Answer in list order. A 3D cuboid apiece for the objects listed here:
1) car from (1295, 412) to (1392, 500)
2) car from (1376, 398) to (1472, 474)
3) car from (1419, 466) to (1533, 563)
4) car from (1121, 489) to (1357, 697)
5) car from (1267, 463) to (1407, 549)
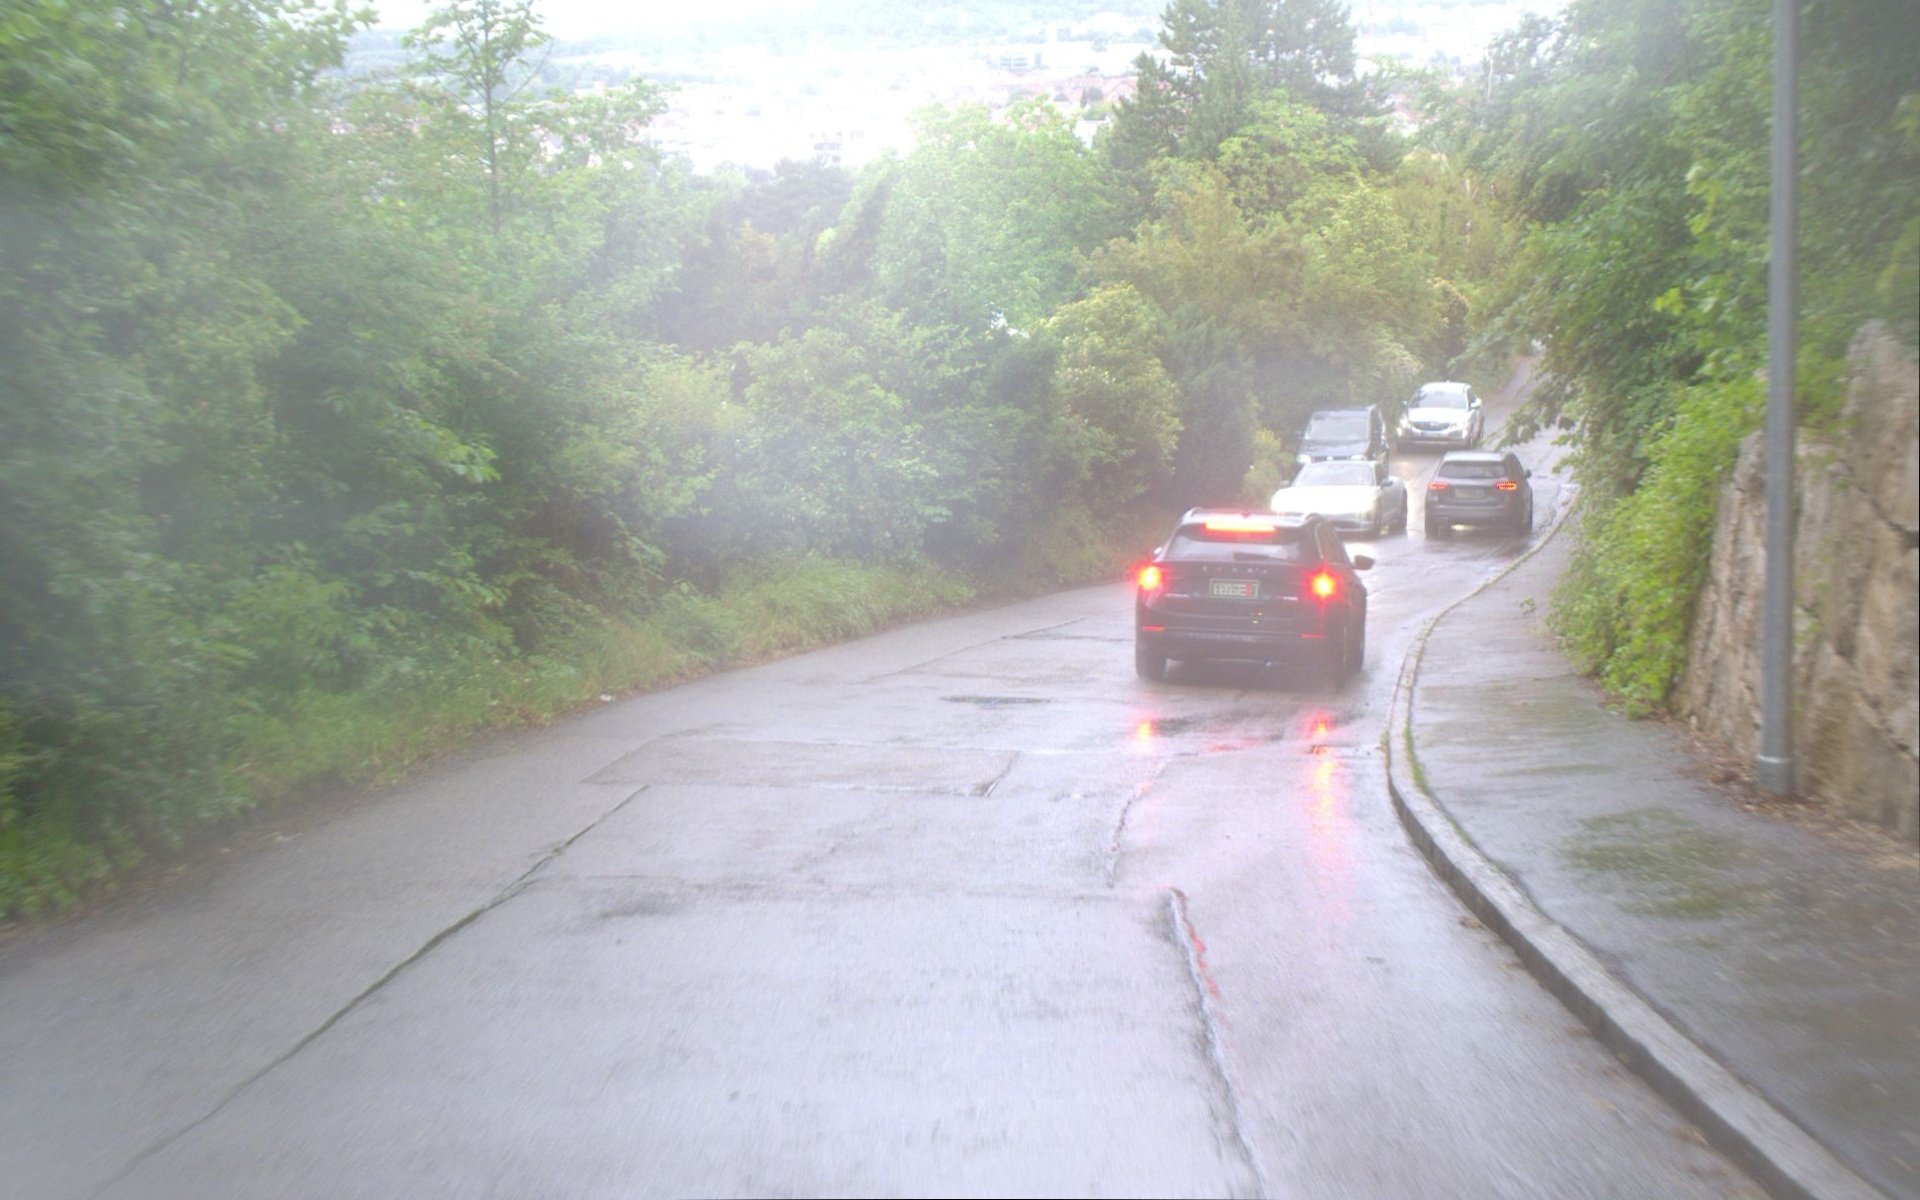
[{"bbox_3d":[8.751,-3.306,78.241,1.690,1.776,4.231,0,6,13],"label":"car"},{"bbox_3d":[11.876,-4.205,87.773,2.049,1.595,4.228,3,7,12],"label":"car"},{"bbox_3d":[9.756,-1.596,64.760,1.864,1.737,3.998,2,1,12],"label":"car"},{"bbox_3d":[2.474,-0.122,29.667,1.700,1.445,4.000,0,5,9],"label":"car"},{"bbox_3d":[7.137,-1.745,64.740,1.942,1.517,4.576,2,1,14],"label":"car"}]
